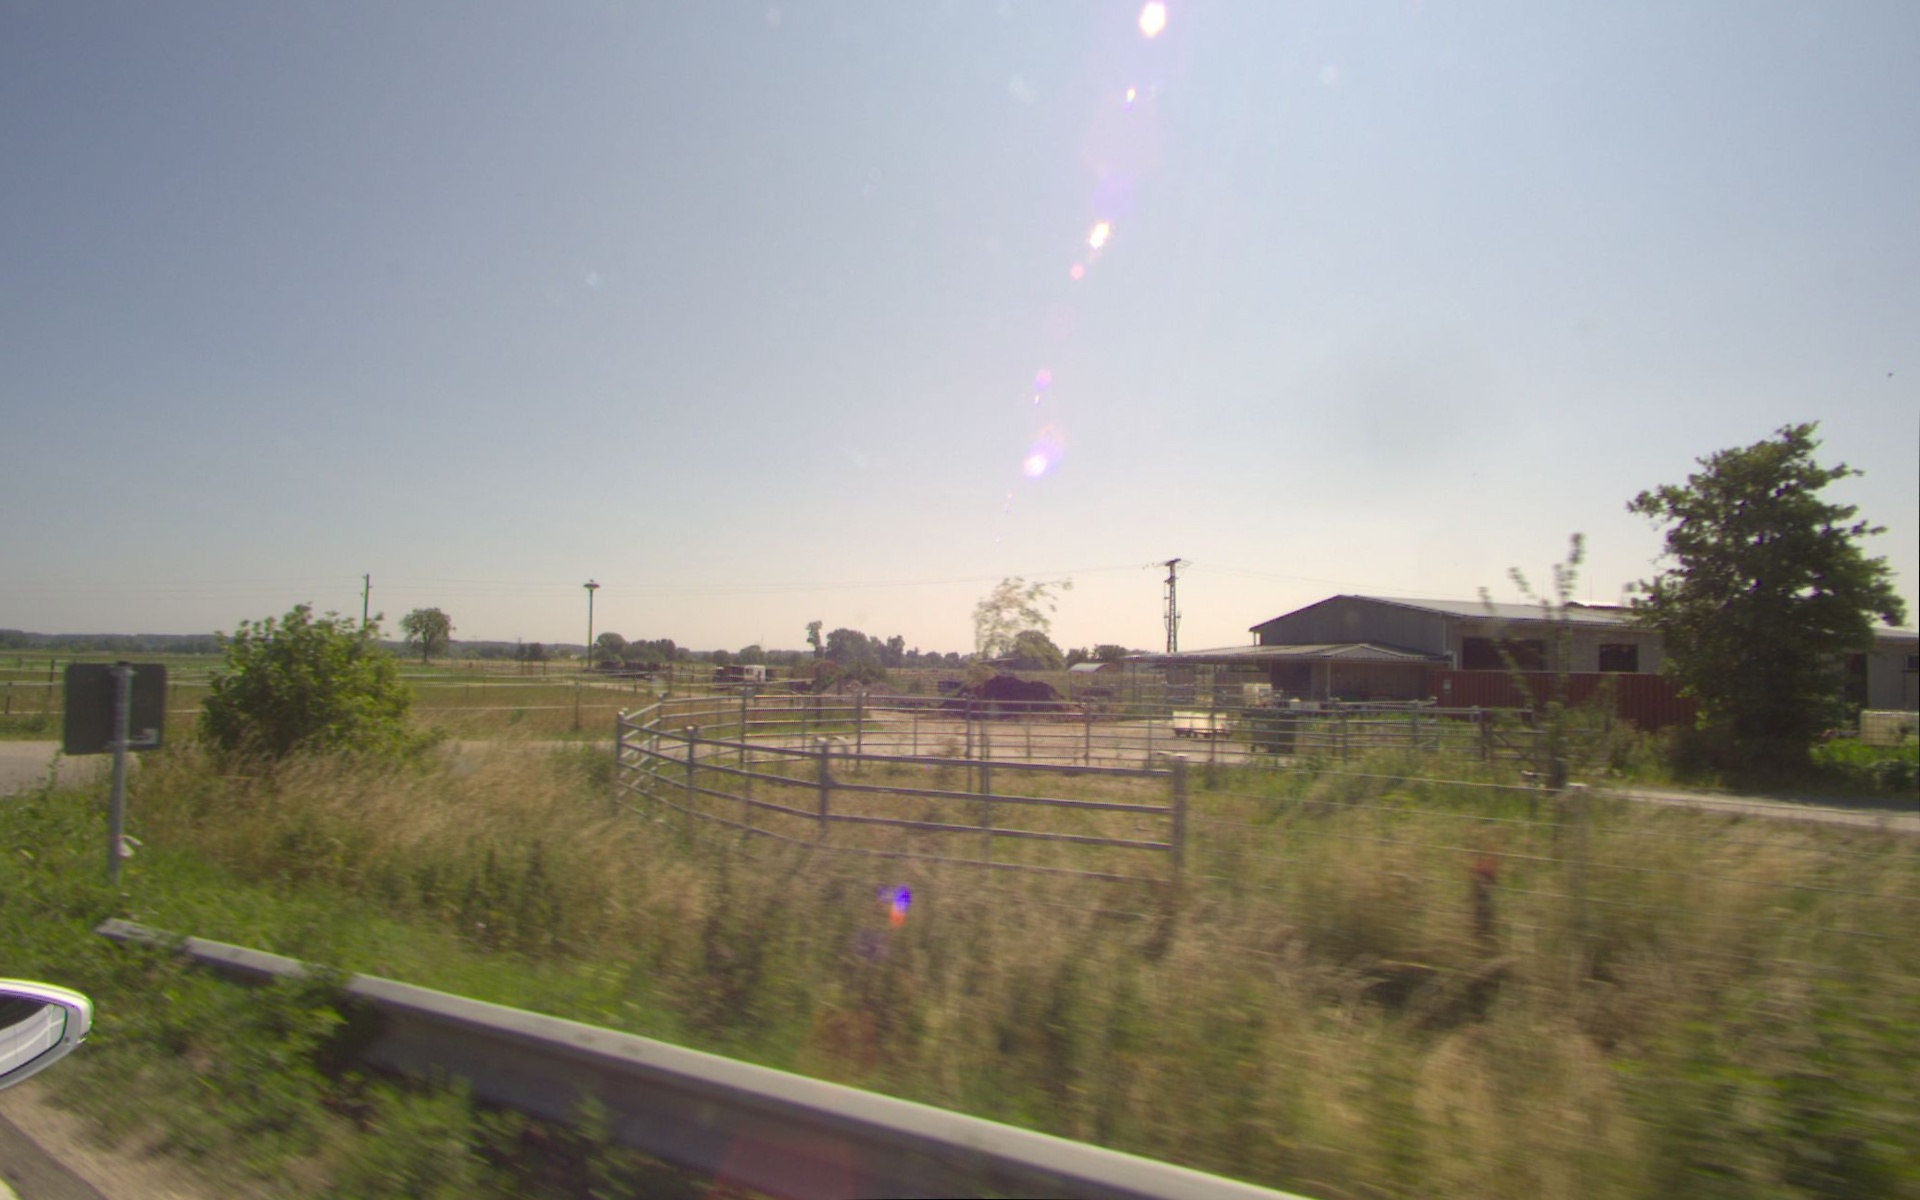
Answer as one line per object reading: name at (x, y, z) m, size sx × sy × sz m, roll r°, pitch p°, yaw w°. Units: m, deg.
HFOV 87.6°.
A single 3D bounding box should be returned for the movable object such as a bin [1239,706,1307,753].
movable object such as a bin at (9.719, 4.004, 31.127) m, size 1.352 × 1.365 × 1.512 m, roll 3°, pitch -4°, yaw -25°
